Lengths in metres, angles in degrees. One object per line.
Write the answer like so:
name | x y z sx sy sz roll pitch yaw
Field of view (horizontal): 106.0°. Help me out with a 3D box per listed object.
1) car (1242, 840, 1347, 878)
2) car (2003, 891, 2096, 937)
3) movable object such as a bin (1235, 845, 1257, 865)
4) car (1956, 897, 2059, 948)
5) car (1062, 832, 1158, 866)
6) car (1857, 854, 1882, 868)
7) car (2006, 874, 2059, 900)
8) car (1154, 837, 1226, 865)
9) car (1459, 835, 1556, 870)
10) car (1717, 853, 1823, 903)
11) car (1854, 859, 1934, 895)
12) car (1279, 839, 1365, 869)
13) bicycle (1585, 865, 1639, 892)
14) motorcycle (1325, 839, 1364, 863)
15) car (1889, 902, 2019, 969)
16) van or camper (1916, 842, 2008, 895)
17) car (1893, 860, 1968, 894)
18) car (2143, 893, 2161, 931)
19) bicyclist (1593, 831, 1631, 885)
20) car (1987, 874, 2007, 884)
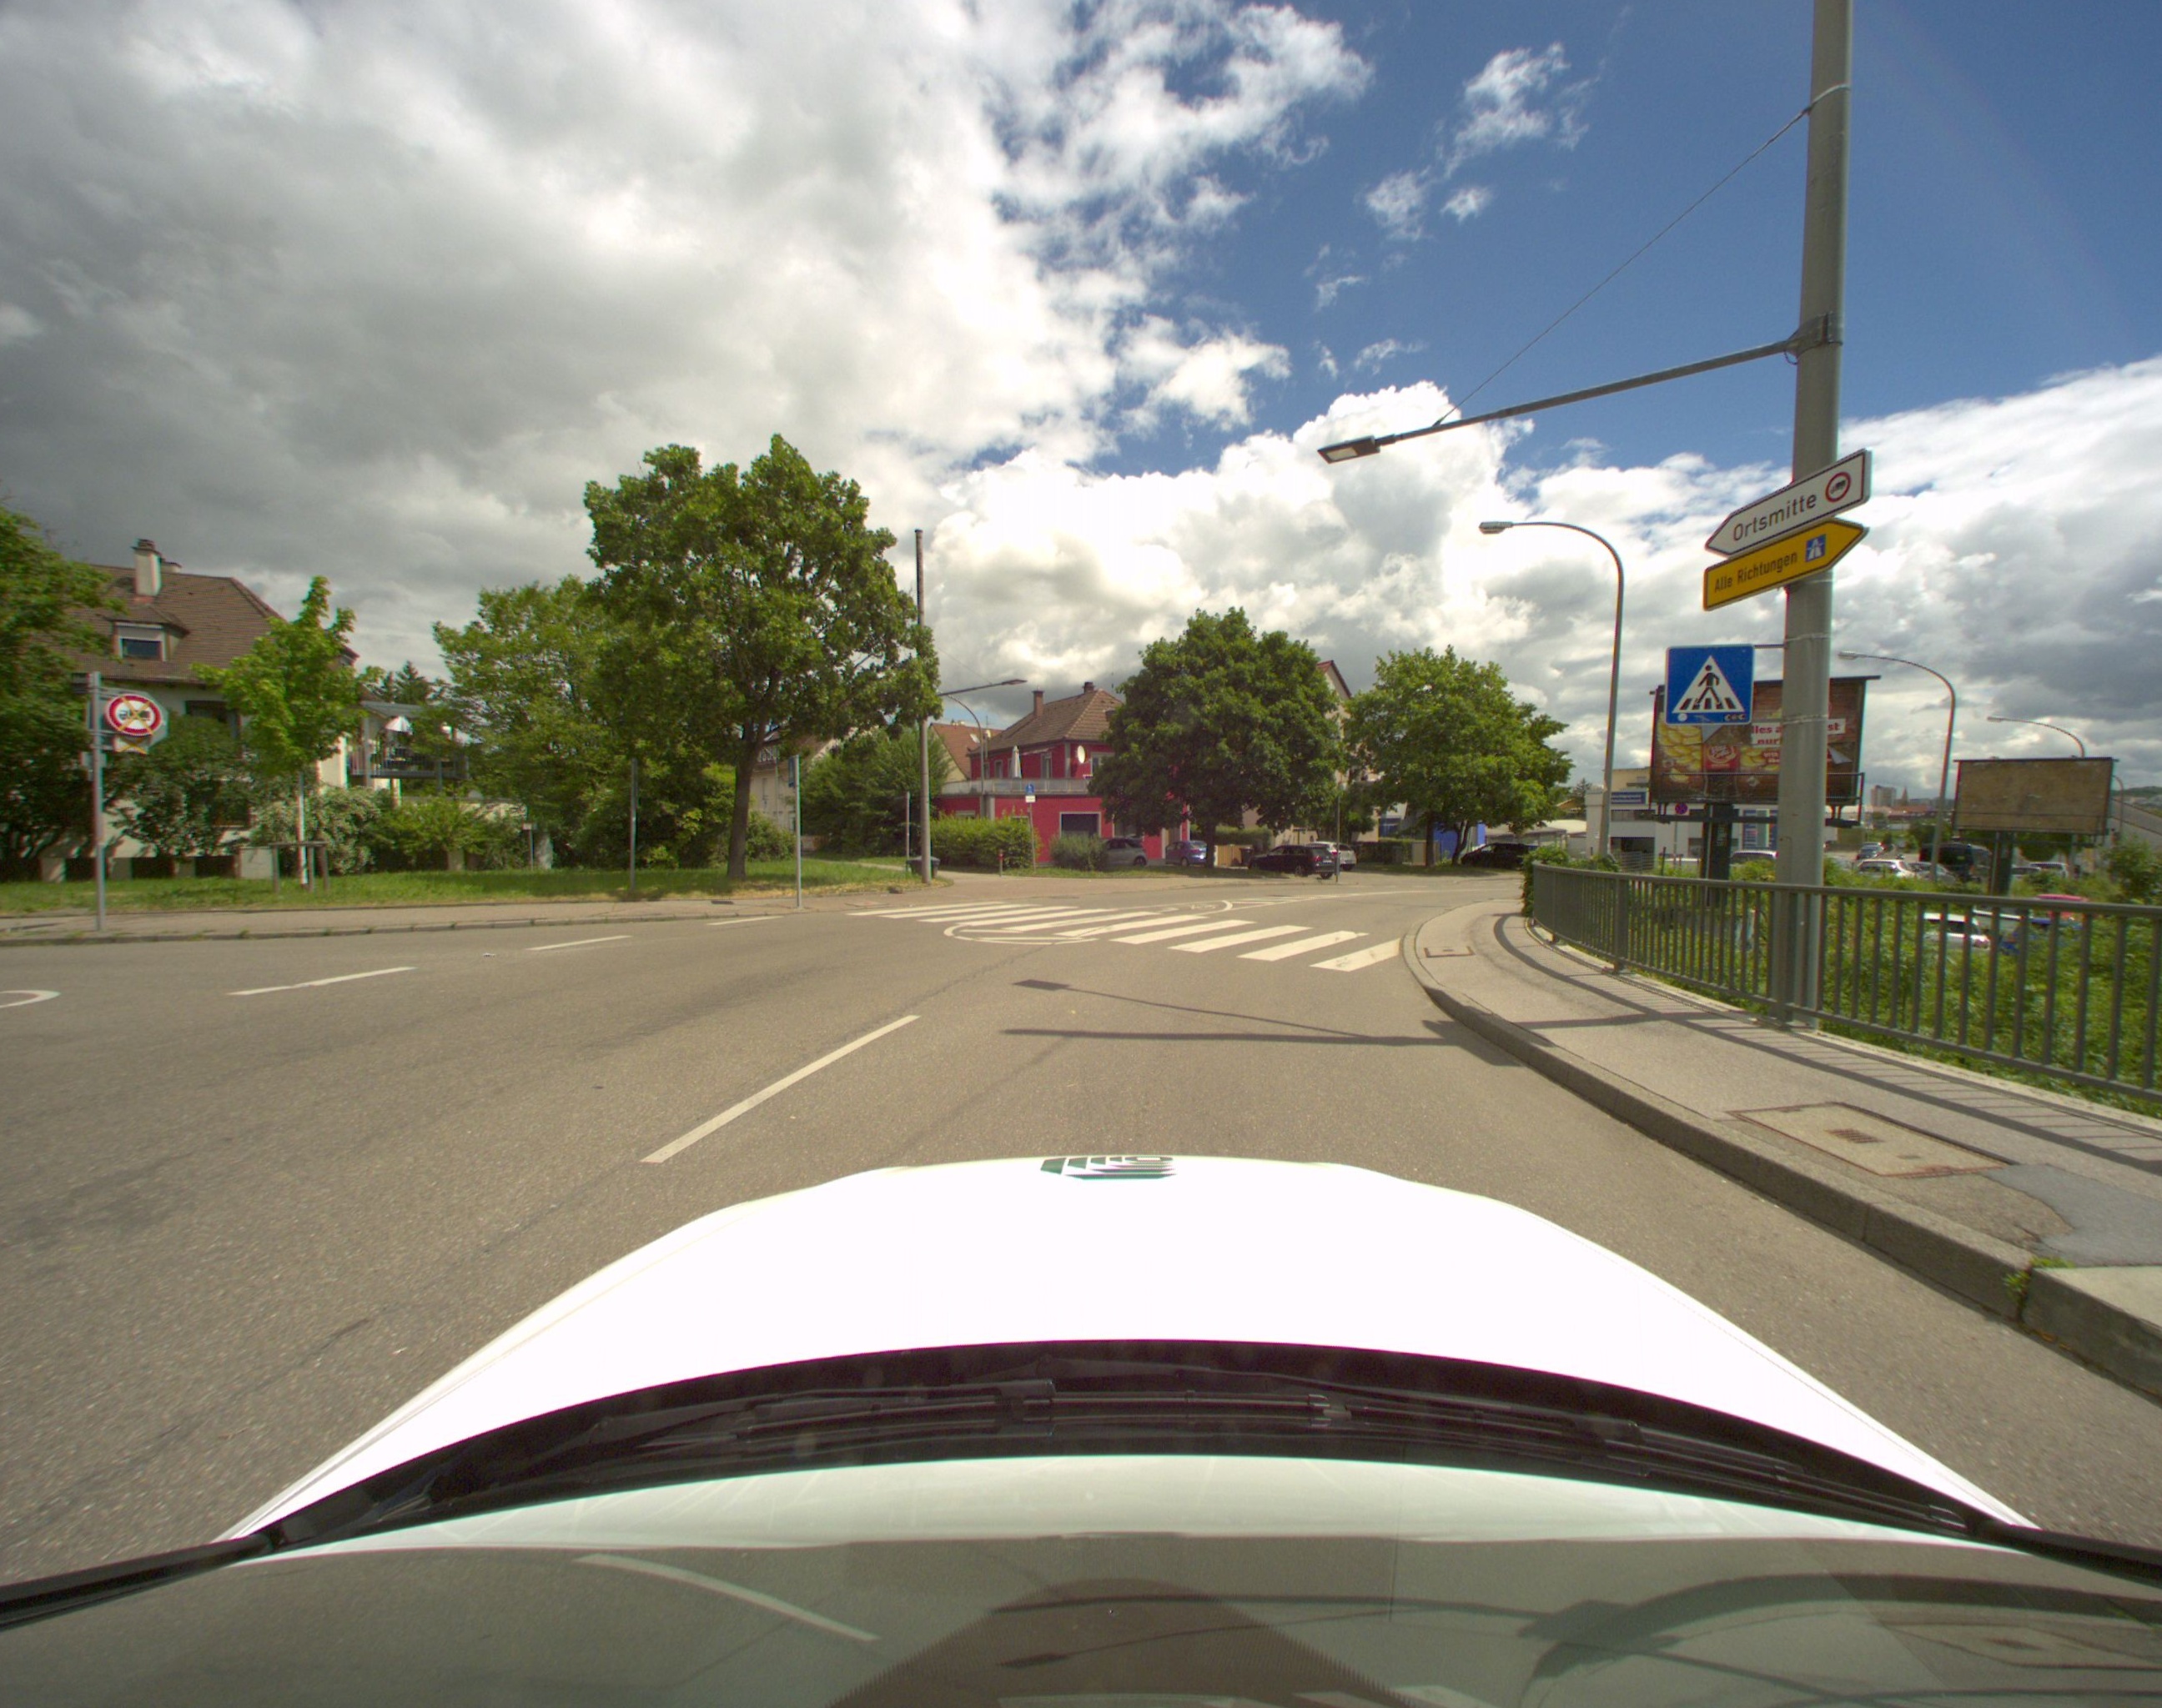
car | 9.085 0.193 34.991 2.006 1.393 4.106 1 2 -30
car | 37.362 2.267 31.398 3.707 1.510 1.695 1 2 -31
movable object such as a bin | 9.033 0.048 44.501 0.882 1.061 0.752 2 2 -26
car | 32.119 2.321 28.212 3.519 1.510 1.695 1 2 -31
car | 1.326 -0.215 36.987 4.091 1.425 1.630 1 2 -31
car | 86.454 0.757 89.258 3.737 1.323 1.656 3 -1 -42
car | 58.695 2.022 50.233 2.917 1.506 1.780 2 -1 -33
car | 5.707 -0.187 43.068 1.848 1.377 3.778 0 1 -30
car | 25.037 -0.109 47.984 2.006 1.716 4.670 3 1 -31
car | 26.101 0.893 30.815 4.321 1.677 1.695 1 2 -31
car | 36.987 1.027 37.029 3.971 1.479 1.694 1 2 -32
car | 12.298 -0.007 41.694 1.883 1.404 3.892 1 1 -33
bicycle | 18.330 0.842 28.094 2.108 0.878 0.683 2 -1 -30
motorcycle | 15.638 -0.176 48.297 2.243 1.315 0.911 2 2 -32
car | 24.144 2.190 22.510 3.519 1.510 1.695 1 2 -31
van or camper | 46.688 0.793 43.126 5.935 2.585 2.111 2 0 -31
car | 41.400 1.116 39.668 3.707 1.510 1.695 1 2 -31
car | 46.435 2.459 34.173 4.543 1.510 1.695 1 2 -31
bicyclist | 18.326 0.137 28.090 1.083 1.826 0.680 2 -1 -30
car | 142.052 3.872 126.368 4.021 1.464 1.976 2 -1 -43
